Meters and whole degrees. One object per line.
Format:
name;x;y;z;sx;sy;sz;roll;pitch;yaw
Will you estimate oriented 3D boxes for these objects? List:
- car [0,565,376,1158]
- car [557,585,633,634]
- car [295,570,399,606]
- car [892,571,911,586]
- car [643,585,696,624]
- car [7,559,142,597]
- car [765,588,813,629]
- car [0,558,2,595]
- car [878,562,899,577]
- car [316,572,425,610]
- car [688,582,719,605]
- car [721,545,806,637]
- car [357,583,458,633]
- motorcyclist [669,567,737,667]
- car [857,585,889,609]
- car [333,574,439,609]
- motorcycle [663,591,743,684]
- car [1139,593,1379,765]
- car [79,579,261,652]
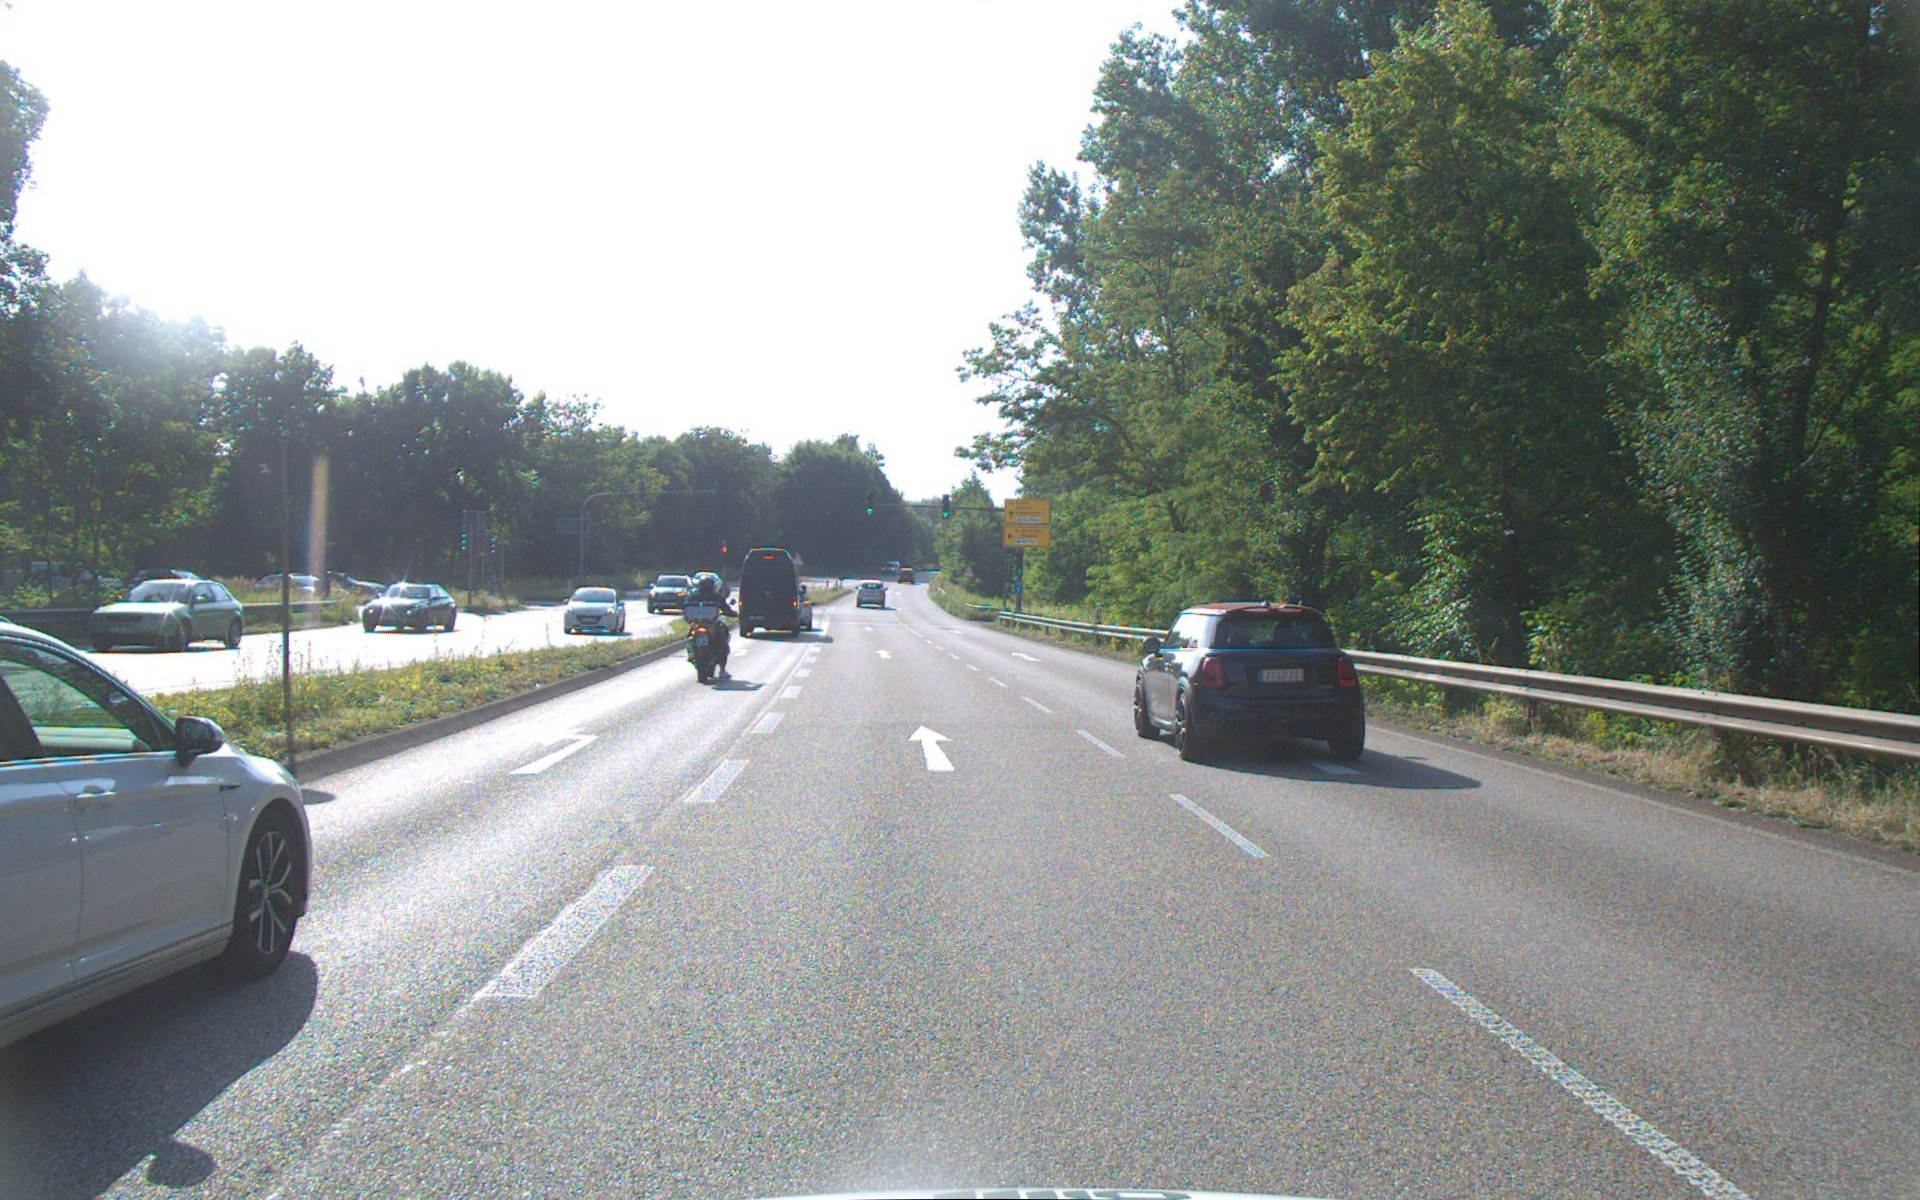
car;-3.486;0.680;4.937;1.832;1.548;4.832;3;0;-2
car;-11.909;0.286;54.190;1.753;1.436;4.224;3;0;-4
car;-29.962;-0.609;80.918;4.322;1.516;1.998;3;0;-6
car;-6.370;-2.306;179.951;1.711;1.564;3.922;3;0;-5
car;-14.096;0.191;80.572;2.035;1.794;4.753;0;1;-4
car;-41.524;-1.042;77.634;4.948;1.516;2.448;3;0;5
car;-6.564;0.310;63.883;1.613;1.515;4.101;0;1;-3
car;-48.303;-1.246;78.360;4.540;1.757;2.193;3;0;5
car;-9.799;-4.177;227.523;1.811;1.817;4.674;3;0;10
car;-27.750;-0.423;77.956;4.314;1.516;2.001;3;0;6
car;-17.579;-0.470;113.364;1.847;1.529;4.260;0;1;-6
car;-6.616;-0.314;56.404;2.165;2.939;7.010;0;0;-1
car;-16.850;0.214;50.695;1.753;1.431;4.751;1;1;-4
motorcyclist;-4.436;0.285;28.615;0.865;1.644;1.290;3;0;1
car;-5.492;-0.184;104.547;1.725;1.404;3.971;3;0;0
car;-29.061;-0.447;83.880;4.618;1.516;2.166;3;0;-6
motorcycle;-4.428;0.614;28.733;0.890;1.479;2.689;-2;1;1
car;2.884;0.702;16.736;1.782;1.493;3.873;1;0;1
car;-16.154;0.280;34.062;1.703;1.402;4.374;0;1;-1
